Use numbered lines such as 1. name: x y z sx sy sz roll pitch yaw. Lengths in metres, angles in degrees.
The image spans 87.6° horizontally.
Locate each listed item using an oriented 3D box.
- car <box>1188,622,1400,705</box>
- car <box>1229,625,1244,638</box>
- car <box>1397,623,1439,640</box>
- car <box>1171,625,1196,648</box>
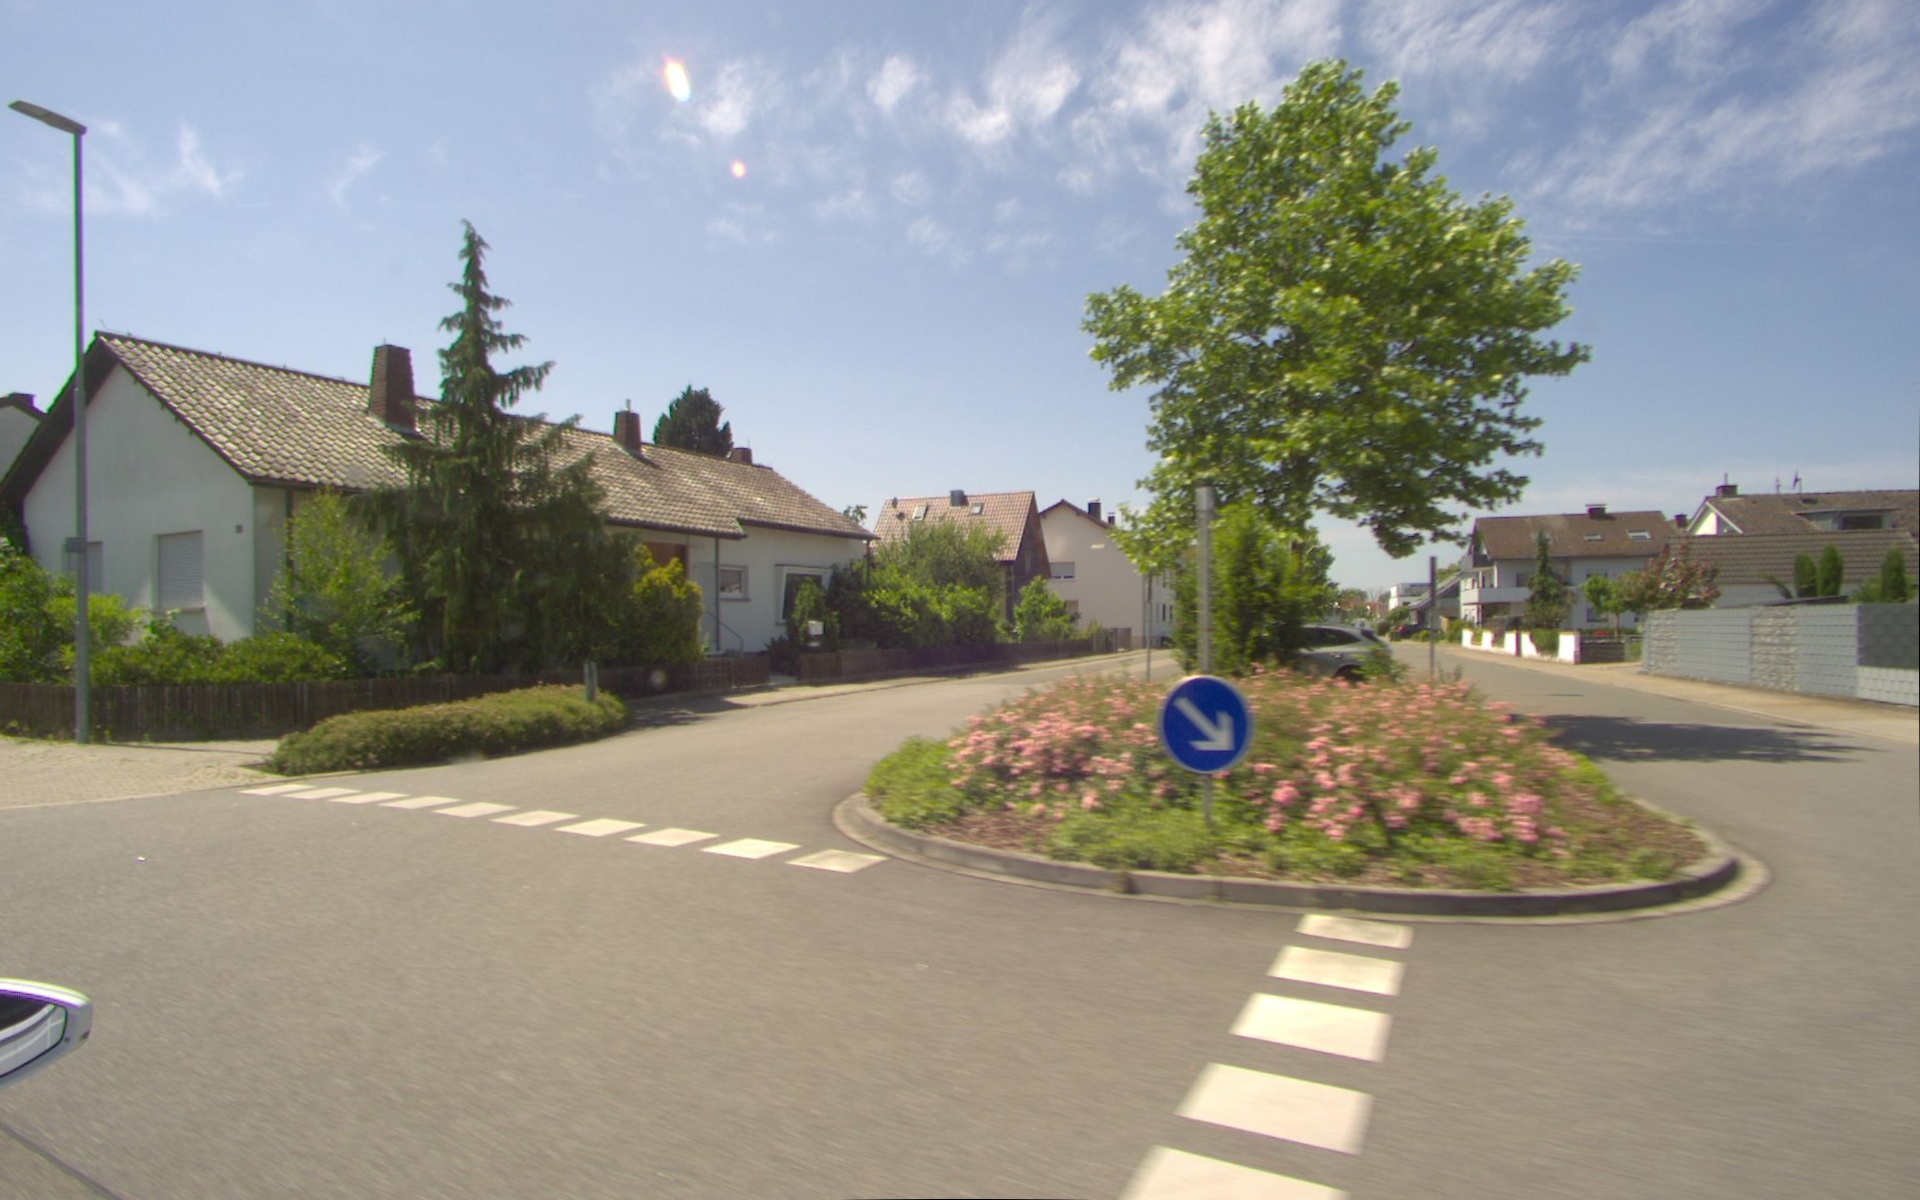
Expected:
1. car: 7.398 1.380 22.535 4.370 1.764 1.645 0 -1 15
2. car: 34.580 3.914 125.120 1.727 1.657 3.997 0 -1 14
3. car: 50.730 3.487 111.034 3.927 1.861 1.998 0 -1 16
4. car: 17.065 2.808 76.394 1.707 1.471 4.003 0 -6 14
